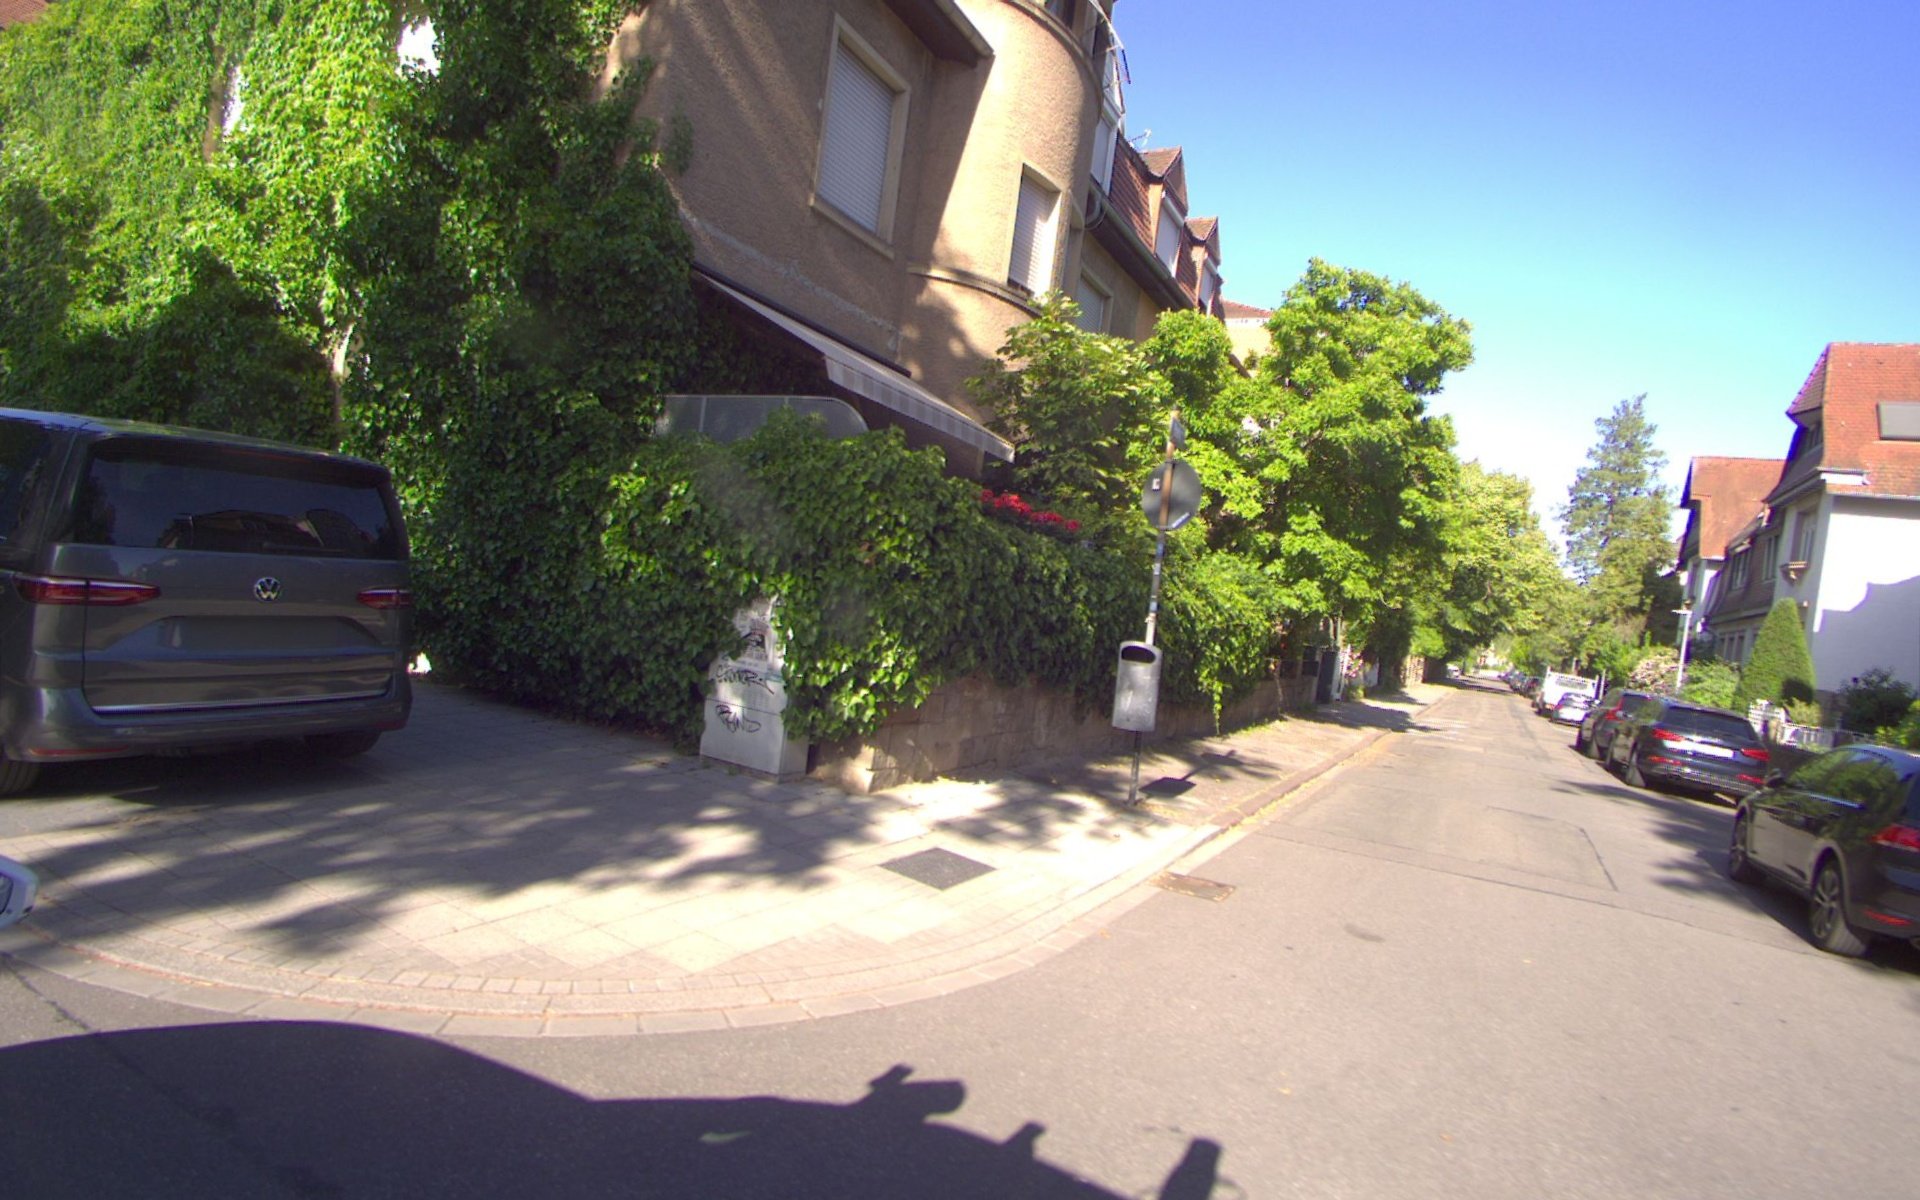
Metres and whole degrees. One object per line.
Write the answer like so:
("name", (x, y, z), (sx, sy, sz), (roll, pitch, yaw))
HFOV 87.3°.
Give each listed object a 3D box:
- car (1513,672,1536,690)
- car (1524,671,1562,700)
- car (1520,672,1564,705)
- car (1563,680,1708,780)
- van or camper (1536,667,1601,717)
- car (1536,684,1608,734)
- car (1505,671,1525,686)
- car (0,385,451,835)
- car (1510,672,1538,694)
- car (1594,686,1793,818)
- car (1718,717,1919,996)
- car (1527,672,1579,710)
("car", (62.396, 8.921, 111.269), (1.814, 1.638, 3.996), (8, 0, 26))
("car", (40.278, 5.909, 69.599), (1.814, 1.638, 3.996), (8, 0, 26))
("car", (35.065, 5.324, 60.714), (1.814, 1.638, 3.996), (8, 0, 26))
("car", (14.953, 2.795, 22.521), (1.768, 1.622, 3.997), (11, 1, 24))
("van or camper", (26.930, 4.089, 44.643), (1.965, 1.861, 3.999), (7, -2, 26))
("car", (23.355, 4.130, 38.513), (1.633, 1.393, 3.997), (11, 1, 24))
("car", (71.758, 10.105, 130.142), (1.814, 1.638, 3.996), (8, 0, 26))
("car", (-5.583, -0.164, 6.297), (4.768, 1.933, 1.855), (8, 1, 30))
("car", (51.560, 7.559, 91.948), (1.814, 1.638, 3.996), (8, 0, 26))
("car", (12.693, 2.538, 17.720), (1.768, 1.622, 3.997), (11, 1, 24))
("car", (7.305, 1.878, 7.623), (1.714, 1.474, 3.798), (10, 2, 28))
("car", (30.297, 4.659, 51.474), (1.815, 1.636, 4.000), (7, -2, 26))
